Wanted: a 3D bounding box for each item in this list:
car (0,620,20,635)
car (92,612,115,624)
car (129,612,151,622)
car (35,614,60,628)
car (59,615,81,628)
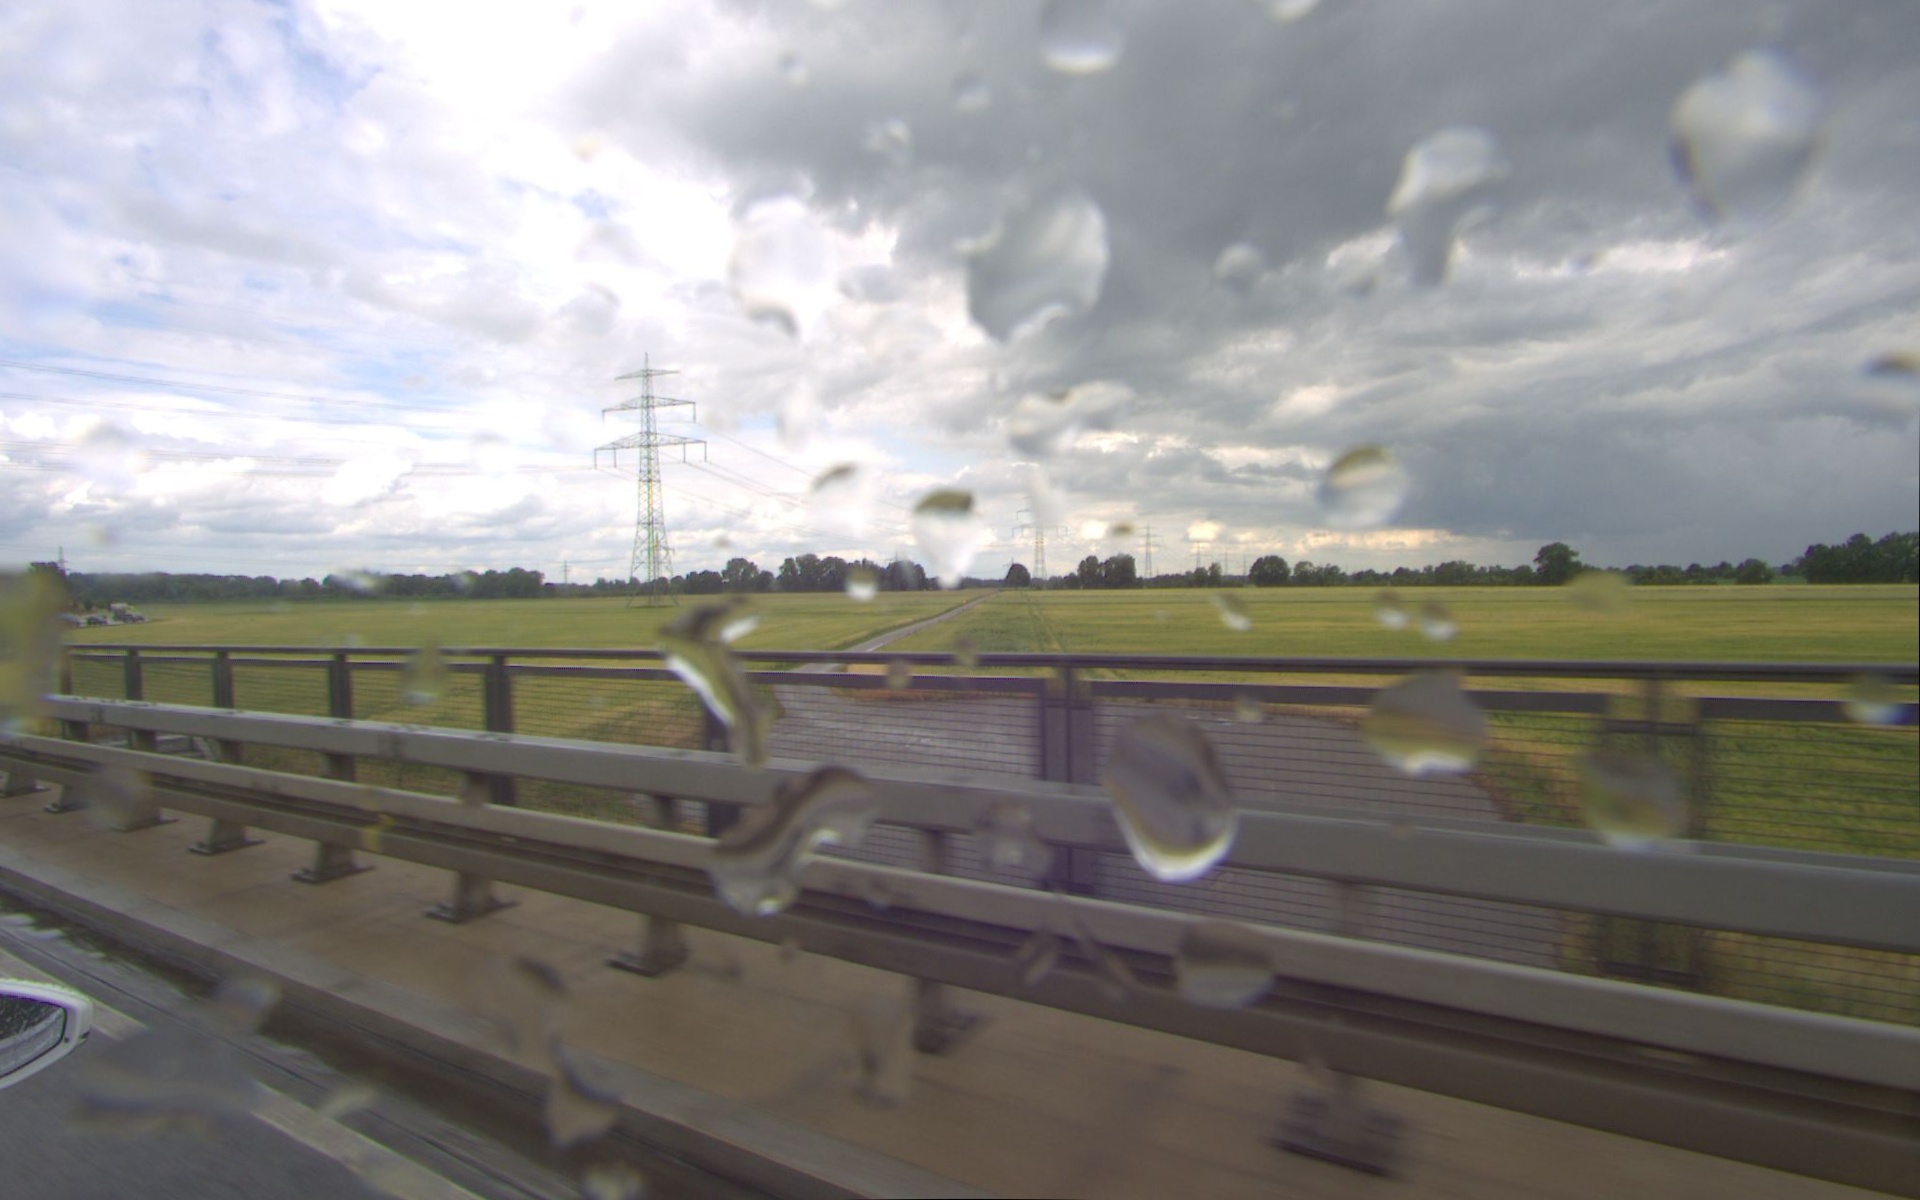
[{"bbox_3d":[-135.657,3.923,142.480,1.972,2.039,3.979,0,-2,-31],"label":"car"},{"bbox_3d":[-150.490,3.122,175.904,1.967,2.039,3.989,0,-2,-23],"label":"car"},{"bbox_3d":[-159.944,3.331,195.402,1.735,2.040,3.994,0,0,-14],"label":"car"},{"bbox_3d":[-142.195,3.270,156.026,2.203,2.039,3.978,0,-2,-32],"label":"car"},{"bbox_3d":[-145.956,3.550,164.238,1.973,2.039,3.978,0,-2,-32],"label":"car"}]
